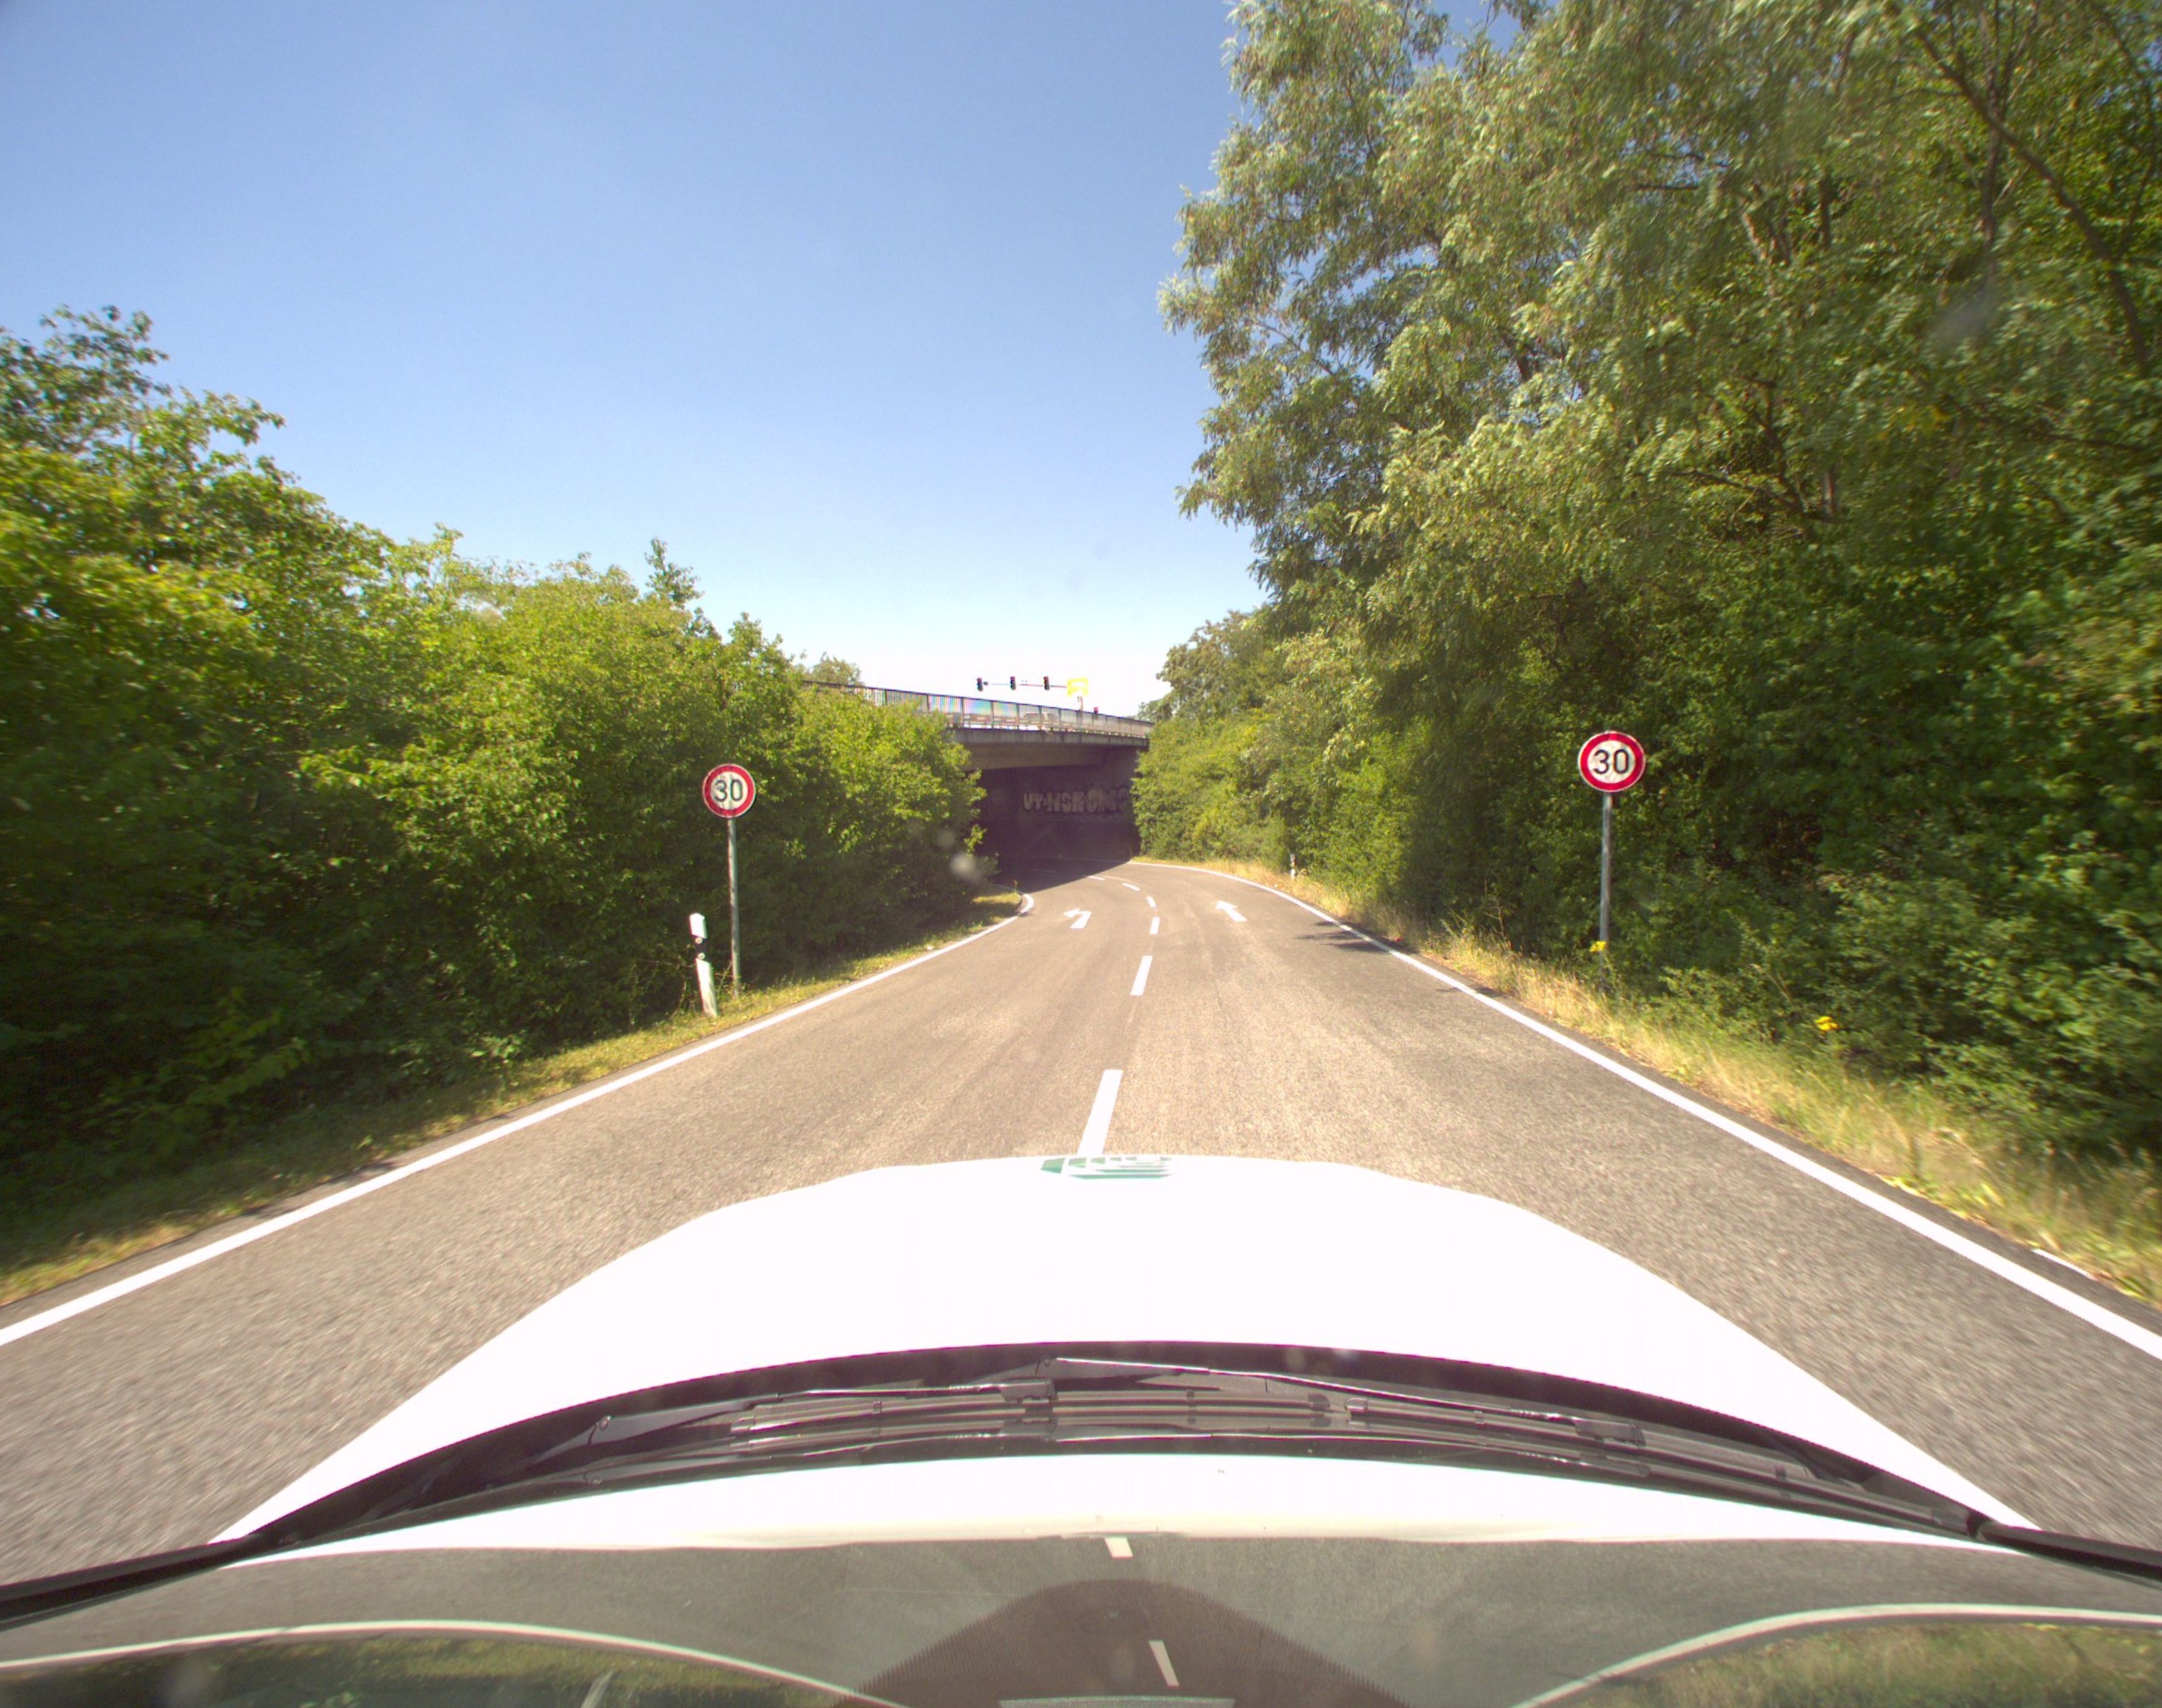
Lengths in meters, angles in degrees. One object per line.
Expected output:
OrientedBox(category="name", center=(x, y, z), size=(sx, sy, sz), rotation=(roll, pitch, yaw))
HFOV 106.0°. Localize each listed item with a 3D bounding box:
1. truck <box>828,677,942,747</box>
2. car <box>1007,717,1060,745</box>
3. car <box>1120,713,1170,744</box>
OrientedBox(category="truck", center=(-12.554, -9.101, 53.340), size=(3.003, 3.588, 8.946), rotation=(-1, 4, 17))
OrientedBox(category="car", center=(-2.494, -6.528, 43.443), size=(1.598, 1.189, 3.497), rotation=(-1, 4, 19))
OrientedBox(category="car", center=(4.843, -9.397, 61.213), size=(1.974, 2.013, 4.027), rotation=(0, 5, 34))
